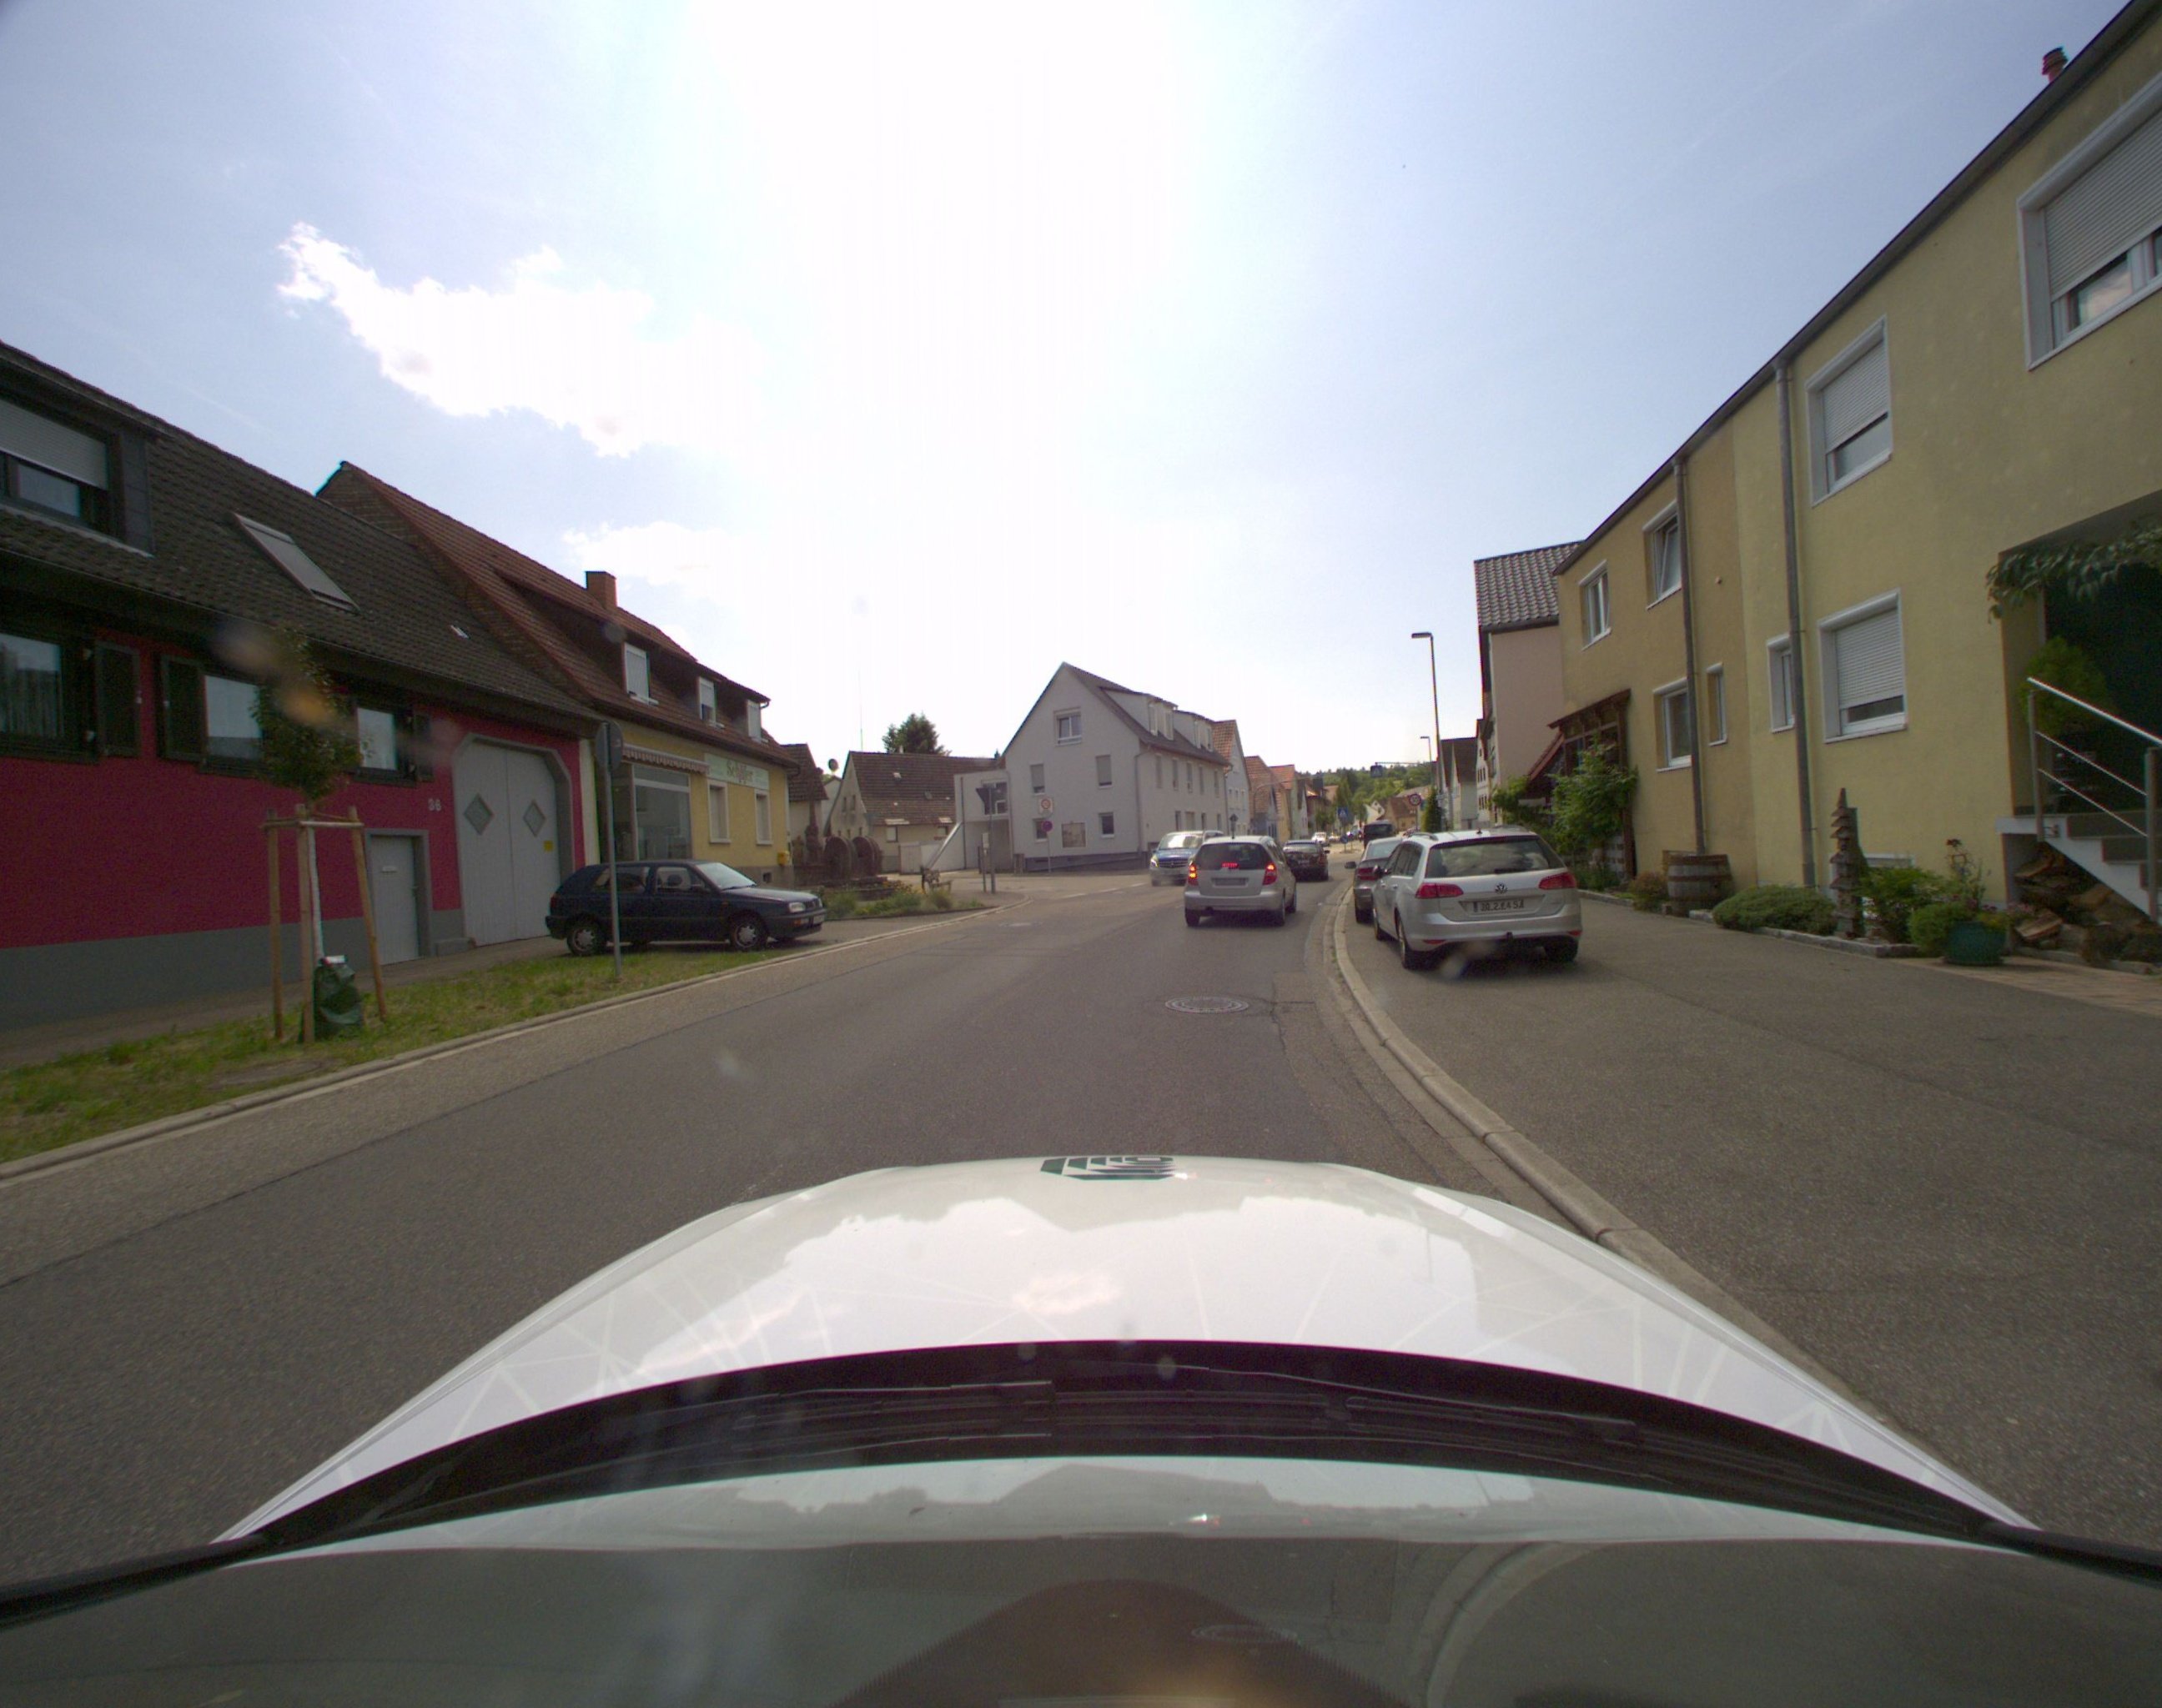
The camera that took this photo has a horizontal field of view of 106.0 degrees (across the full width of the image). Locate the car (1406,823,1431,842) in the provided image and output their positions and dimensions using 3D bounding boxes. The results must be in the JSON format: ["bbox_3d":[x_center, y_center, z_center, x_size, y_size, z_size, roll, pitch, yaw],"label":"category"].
[{"bbox_3d":[29.416,-1.827,71.054,1.976,1.508,4.021,-2,-1,22],"label":"car"}]

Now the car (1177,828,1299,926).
[{"bbox_3d":[3.145,0.366,15.740,1.796,1.643,3.747,-1,1,19],"label":"car"}]

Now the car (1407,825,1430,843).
[{"bbox_3d":[31.897,-1.879,77.029,1.976,1.508,4.021,-2,-1,22],"label":"car"}]

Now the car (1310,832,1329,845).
[{"bbox_3d":[26.558,-1.710,90.691,1.978,1.321,3.725,-2,-1,17],"label":"car"}]

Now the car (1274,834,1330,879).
[{"bbox_3d":[7.717,0.099,28.648,1.737,1.416,4.015,-2,-1,14],"label":"car"}]

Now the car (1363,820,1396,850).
[{"bbox_3d":[19.905,-1.218,54.217,1.976,1.816,4.021,-2,-1,21],"label":"car"}]

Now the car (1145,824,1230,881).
[{"bbox_3d":[3.906,-0.022,29.129,1.977,1.800,4.960,-2,-1,19],"label":"car"}]

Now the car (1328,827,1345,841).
[{"bbox_3d":[33.346,-2.570,106.184,1.652,1.596,4.021,-2,-1,22],"label":"car"}]

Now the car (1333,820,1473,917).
[{"bbox_3d":[5.785,0.255,15.146,1.757,1.400,4.441,-5,-2,14],"label":"car"}]

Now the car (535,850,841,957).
[{"bbox_3d":[-6.083,0.722,12.965,3.956,1.464,1.720,-2,0,-2],"label":"car"}]

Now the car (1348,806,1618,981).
[{"bbox_3d":[4.518,0.369,9.935,1.872,1.530,4.351,-5,0,13],"label":"car"}]

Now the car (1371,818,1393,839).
[{"bbox_3d":[31.189,-2.621,84.404,1.976,2.014,4.021,-2,-1,22],"label":"car"}]
